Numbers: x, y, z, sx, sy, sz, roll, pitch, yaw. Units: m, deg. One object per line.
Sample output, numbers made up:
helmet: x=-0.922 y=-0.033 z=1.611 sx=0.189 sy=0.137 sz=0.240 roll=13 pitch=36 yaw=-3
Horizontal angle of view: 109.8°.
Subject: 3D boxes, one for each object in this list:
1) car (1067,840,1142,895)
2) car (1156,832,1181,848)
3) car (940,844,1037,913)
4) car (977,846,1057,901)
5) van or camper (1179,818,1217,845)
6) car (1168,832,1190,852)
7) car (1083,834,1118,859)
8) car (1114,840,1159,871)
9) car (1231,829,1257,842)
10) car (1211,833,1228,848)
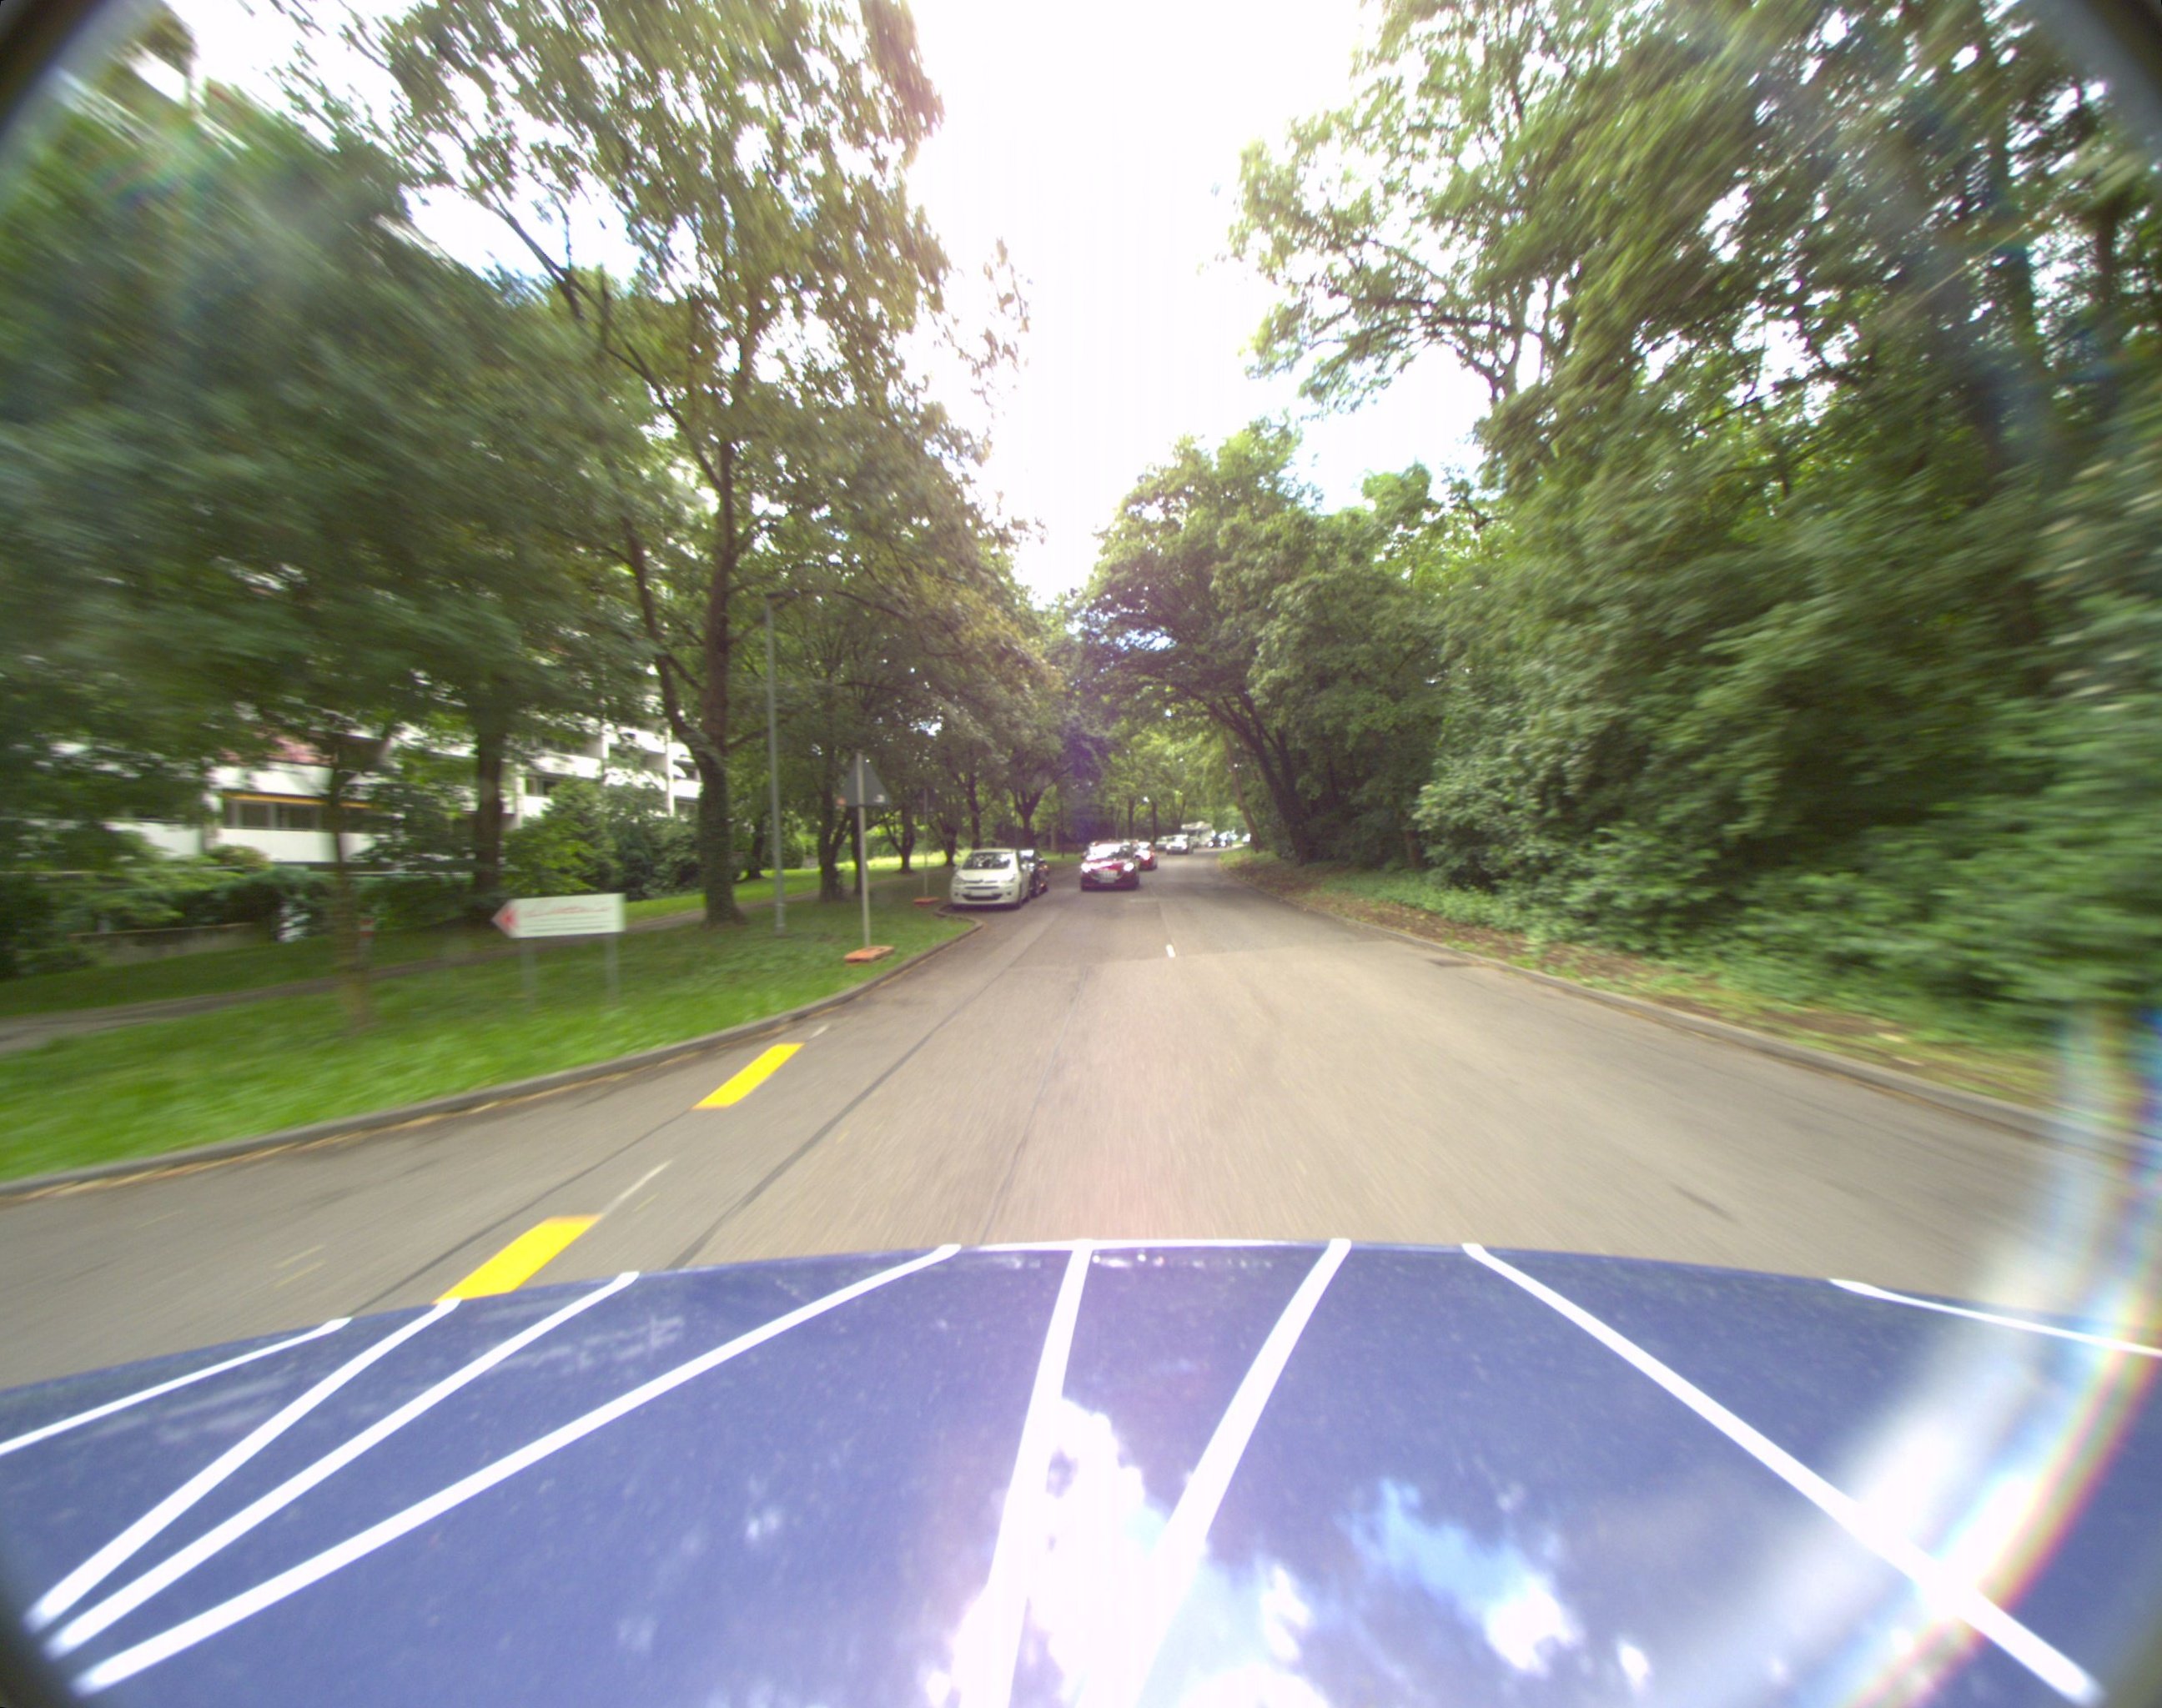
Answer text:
car: x=0.919 y=0.382 z=26.035 sx=2.002 sy=1.599 sz=4.679 roll=-2 pitch=1 yaw=8
car: x=8.988 y=-1.436 z=77.886 sx=1.691 sy=1.474 sz=4.111 roll=-2 pitch=1 yaw=18
car: x=-2.292 y=0.563 z=19.888 sx=1.778 sy=1.514 sz=3.781 roll=-3 pitch=1 yaw=4
car: x=-1.950 y=0.558 z=24.553 sx=1.777 sy=1.514 sz=4.184 roll=-2 pitch=1 yaw=6
van or camper: x=13.861 y=-2.653 z=89.263 sx=2.426 sy=2.963 sz=7.403 roll=-2 pitch=1 yaw=24
car: x=8.254 y=-1.048 z=63.693 sx=1.653 sy=1.559 sz=4.047 roll=-2 pitch=1 yaw=9
car: x=1.296 y=-0.505 z=49.667 sx=1.685 sy=1.456 sz=3.900 roll=-2 pitch=1 yaw=10
car: x=2.899 y=0.010 z=40.392 sx=1.958 sy=1.464 sz=4.676 roll=-3 pitch=1 yaw=-1
car: x=21.398 y=-2.454 z=99.667 sx=1.764 sy=1.559 sz=4.052 roll=-2 pitch=2 yaw=34
car: x=15.337 y=-1.536 z=84.144 sx=1.766 sy=1.559 sz=4.048 roll=-2 pitch=1 yaw=11
